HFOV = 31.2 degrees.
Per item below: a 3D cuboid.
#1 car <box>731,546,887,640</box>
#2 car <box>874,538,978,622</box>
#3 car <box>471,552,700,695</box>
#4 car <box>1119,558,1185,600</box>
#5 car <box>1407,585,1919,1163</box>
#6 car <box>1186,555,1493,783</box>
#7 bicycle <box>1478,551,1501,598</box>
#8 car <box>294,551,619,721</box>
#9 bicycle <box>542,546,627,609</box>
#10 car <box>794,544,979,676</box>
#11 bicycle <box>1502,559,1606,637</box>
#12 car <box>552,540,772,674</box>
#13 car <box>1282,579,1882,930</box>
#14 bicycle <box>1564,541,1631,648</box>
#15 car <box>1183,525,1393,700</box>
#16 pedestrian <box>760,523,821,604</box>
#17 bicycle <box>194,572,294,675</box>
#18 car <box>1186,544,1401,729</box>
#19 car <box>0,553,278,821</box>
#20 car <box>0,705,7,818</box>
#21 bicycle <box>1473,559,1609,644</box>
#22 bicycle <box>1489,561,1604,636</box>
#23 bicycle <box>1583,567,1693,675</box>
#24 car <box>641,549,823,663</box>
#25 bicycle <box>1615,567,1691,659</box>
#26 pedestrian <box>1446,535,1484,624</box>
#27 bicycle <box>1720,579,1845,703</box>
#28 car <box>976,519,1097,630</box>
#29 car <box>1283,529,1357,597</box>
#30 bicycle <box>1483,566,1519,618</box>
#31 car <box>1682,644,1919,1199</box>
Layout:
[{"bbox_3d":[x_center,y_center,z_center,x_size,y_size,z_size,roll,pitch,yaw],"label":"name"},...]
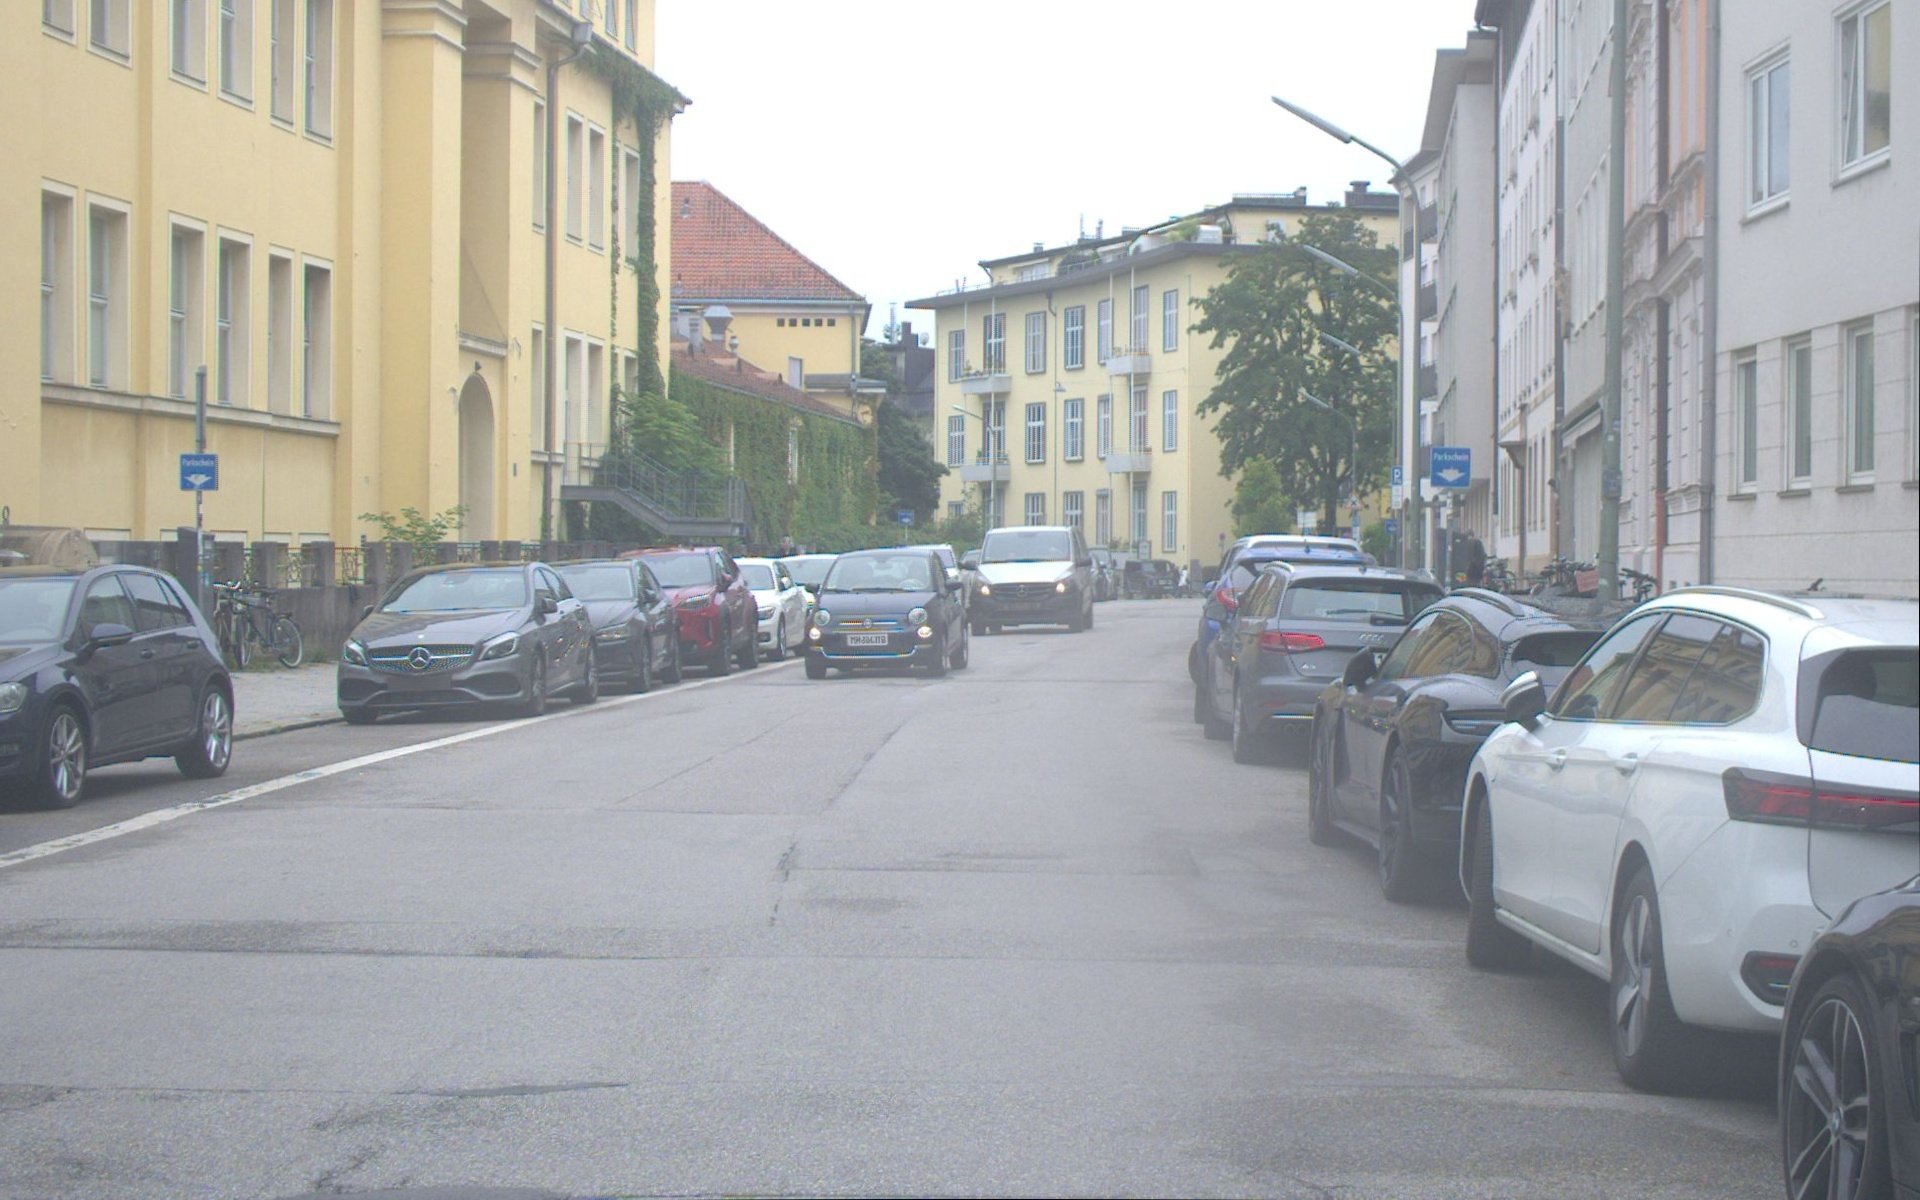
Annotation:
[{"bbox_3d":[-2.377,-0.130,55.257,1.785,1.427,4.651,1,1,6],"label":"car"},{"bbox_3d":[-0.669,-0.415,70.465,1.746,1.628,4.856,-1,0,4],"label":"car"},{"bbox_3d":[-4.004,0.217,37.403,1.749,1.400,4.354,-2,0,3],"label":"car"},{"bbox_3d":[9.310,-1.041,166.713,1.762,1.868,4.380,4,0,-15],"label":"car"},{"bbox_3d":[2.799,0.708,11.404,1.854,1.409,5.015,1,1,-1],"label":"car"},{"bbox_3d":[2.742,0.441,25.737,1.705,1.449,4.402,3,1,0],"label":"car"},{"bbox_3d":[13.874,-0.665,90.068,0.530,1.213,2.102,1,1,7],"label":"bicycle"},{"bbox_3d":[-4.643,0.309,32.406,2.014,1.413,4.615,-2,0,4],"label":"car"},{"bbox_3d":[-7.606,-0.456,69.592,1.626,1.264,0.527,0,1,8],"label":"bicycle"},{"bbox_3d":[-0.825,0.091,40.787,1.661,1.469,3.707,-1,1,7],"label":"car"},{"bbox_3d":[8.609,-0.038,49.803,0.621,1.086,1.810,0,1,41],"label":"bicycle"},{"bbox_3d":[-3.574,0.064,42.041,1.958,1.477,4.529,-2,0,4],"label":"car"},{"bbox_3d":[2.818,0.623,16.806,1.955,1.409,5.113,1,1,0],"label":"car"},{"bbox_3d":[8.455,-0.088,45.653,0.595,1.380,2.092,0,1,3],"label":"bicycle"},{"bbox_3d":[3.363,0.091,35.803,1.681,1.667,3.804,2,1,-1],"label":"car"},{"bbox_3d":[-3.613,-0.781,73.482,0.902,1.713,1.057,0,1,24],"label":"pedestrian"},{"bbox_3d":[-8.516,0.267,40.969,0.535,1.181,2.106,1,1,6],"label":"bicycle"},{"bbox_3d":[2.985,0.267,30.525,1.743,1.489,4.547,1,1,6],"label":"car"},{"bbox_3d":[-5.979,0.494,21.695,1.914,1.477,4.530,-2,1,7],"label":"car"},{"bbox_3d":[-6.416,0.522,16.952,1.914,1.582,4.352,-3,1,3],"label":"car"},{"bbox_3d":[8.051,0.009,47.579,2.086,1.135,0.584,-1,1,-37],"label":"bicycle"},{"bbox_3d":[8.610,-0.030,50.404,1.842,1.064,0.516,-1,1,-36],"label":"bicycle"},{"bbox_3d":[7.230,0.210,36.746,0.723,1.108,1.995,0,1,-2],"label":"bicycle"},{"bbox_3d":[-3.100,0.063,47.713,1.794,1.424,4.664,-3,0,5],"label":"car"},{"bbox_3d":[8.050,0.142,39.980,0.595,1.020,1.817,0,1,3],"label":"bicycle"},{"bbox_3d":[10.345,-0.416,70.474,0.723,1.757,0.904,1,-2,7],"label":"pedestrian"},{"bbox_3d":[7.461,0.354,31.278,0.529,1.068,2.001,0,1,-4],"label":"bicycle"},{"bbox_3d":[1.385,-0.450,60.145,1.916,1.842,5.320,1,1,3],"label":"car"},{"bbox_3d":[13.535,-1.360,129.425,2.079,2.226,5.244,5,-1,0],"label":"car"},{"bbox_3d":[12.773,-0.196,81.160,0.512,1.218,1.989,0,1,0],"label":"bicycle"},{"bbox_3d":[2.821,0.880,5.980,1.757,1.361,4.781,5,0,-4],"label":"car"}]
